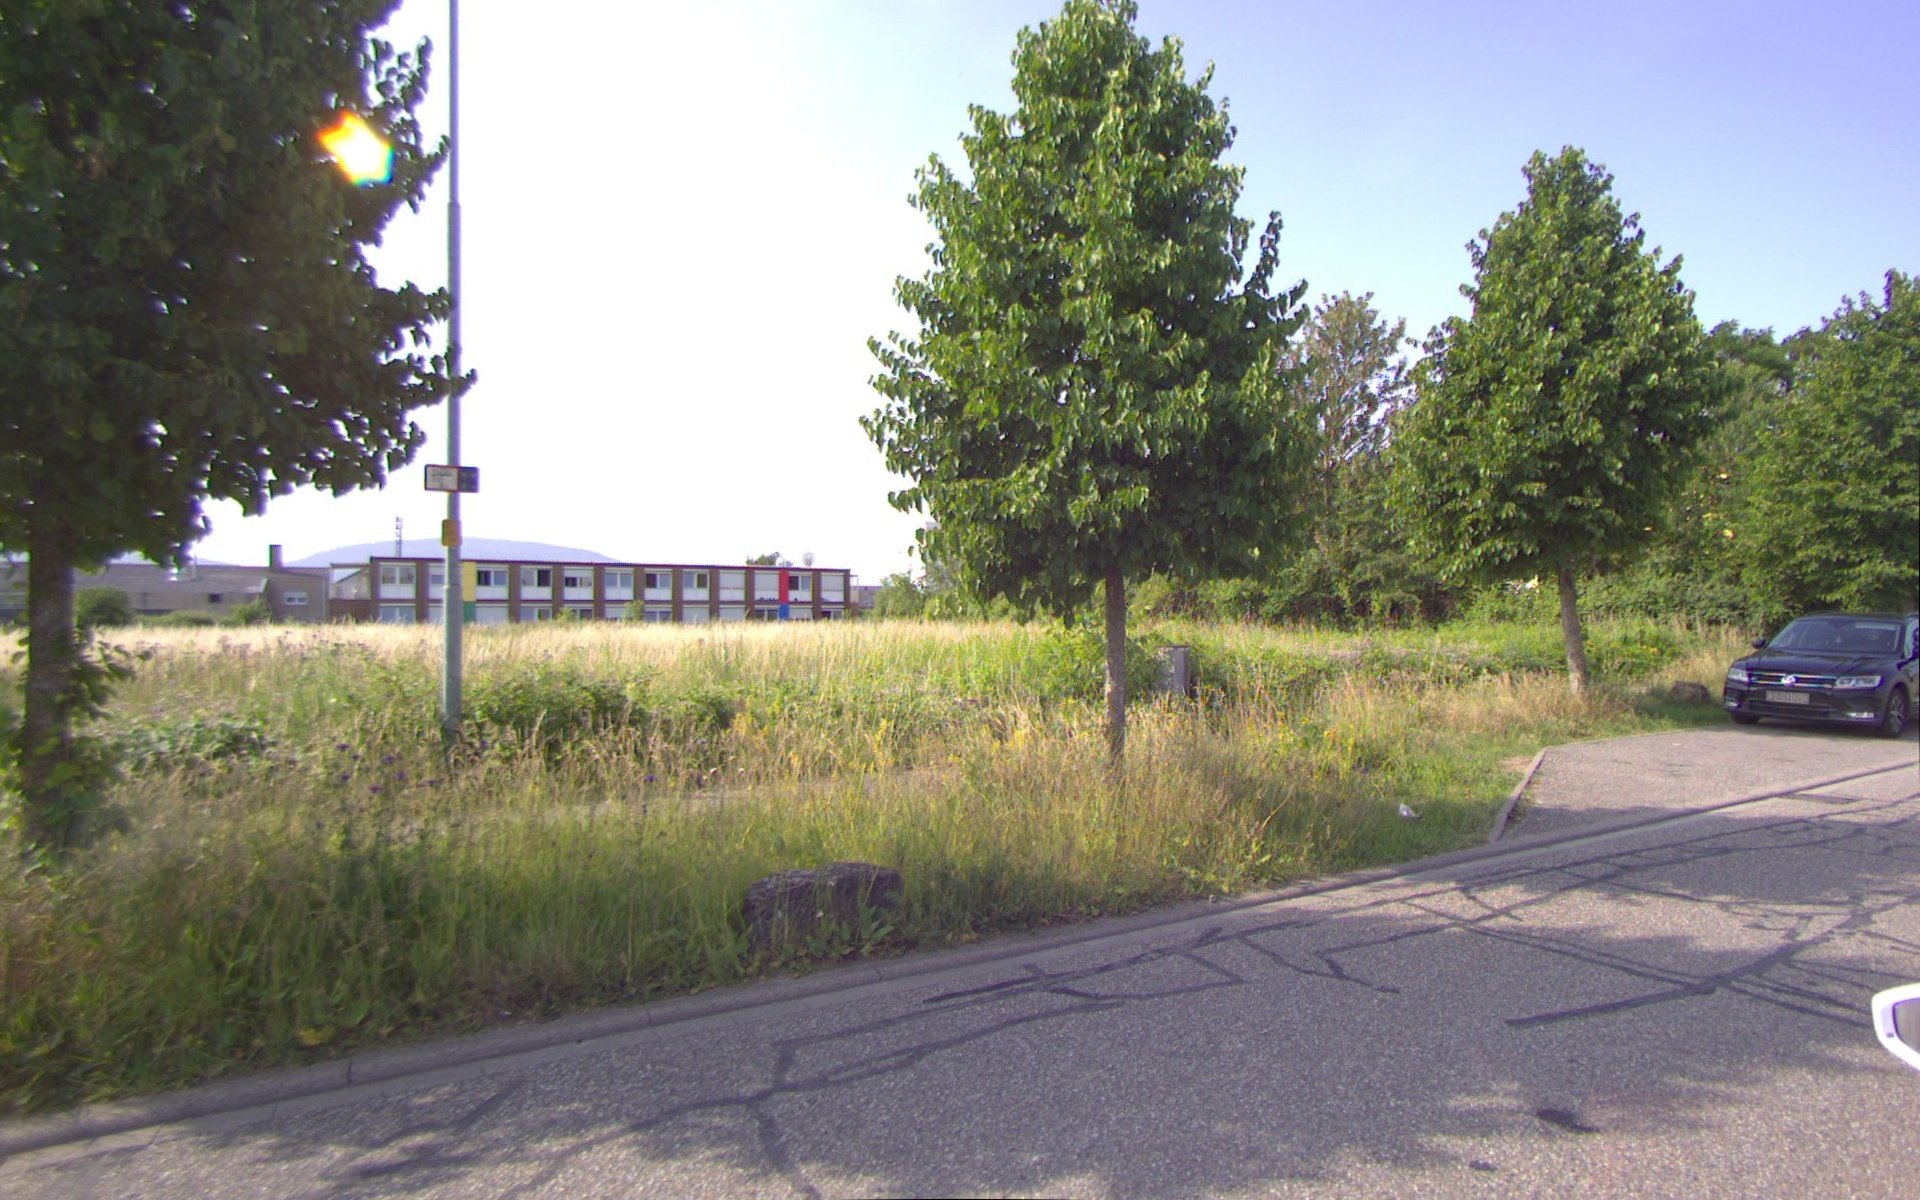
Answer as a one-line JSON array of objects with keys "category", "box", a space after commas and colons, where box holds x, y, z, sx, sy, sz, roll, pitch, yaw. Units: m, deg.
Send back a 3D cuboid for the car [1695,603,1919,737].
[{"category": "car", "box": [12.722, 0.884, 14.452, 4.397, 1.648, 1.893, 0, 1, -31]}]
